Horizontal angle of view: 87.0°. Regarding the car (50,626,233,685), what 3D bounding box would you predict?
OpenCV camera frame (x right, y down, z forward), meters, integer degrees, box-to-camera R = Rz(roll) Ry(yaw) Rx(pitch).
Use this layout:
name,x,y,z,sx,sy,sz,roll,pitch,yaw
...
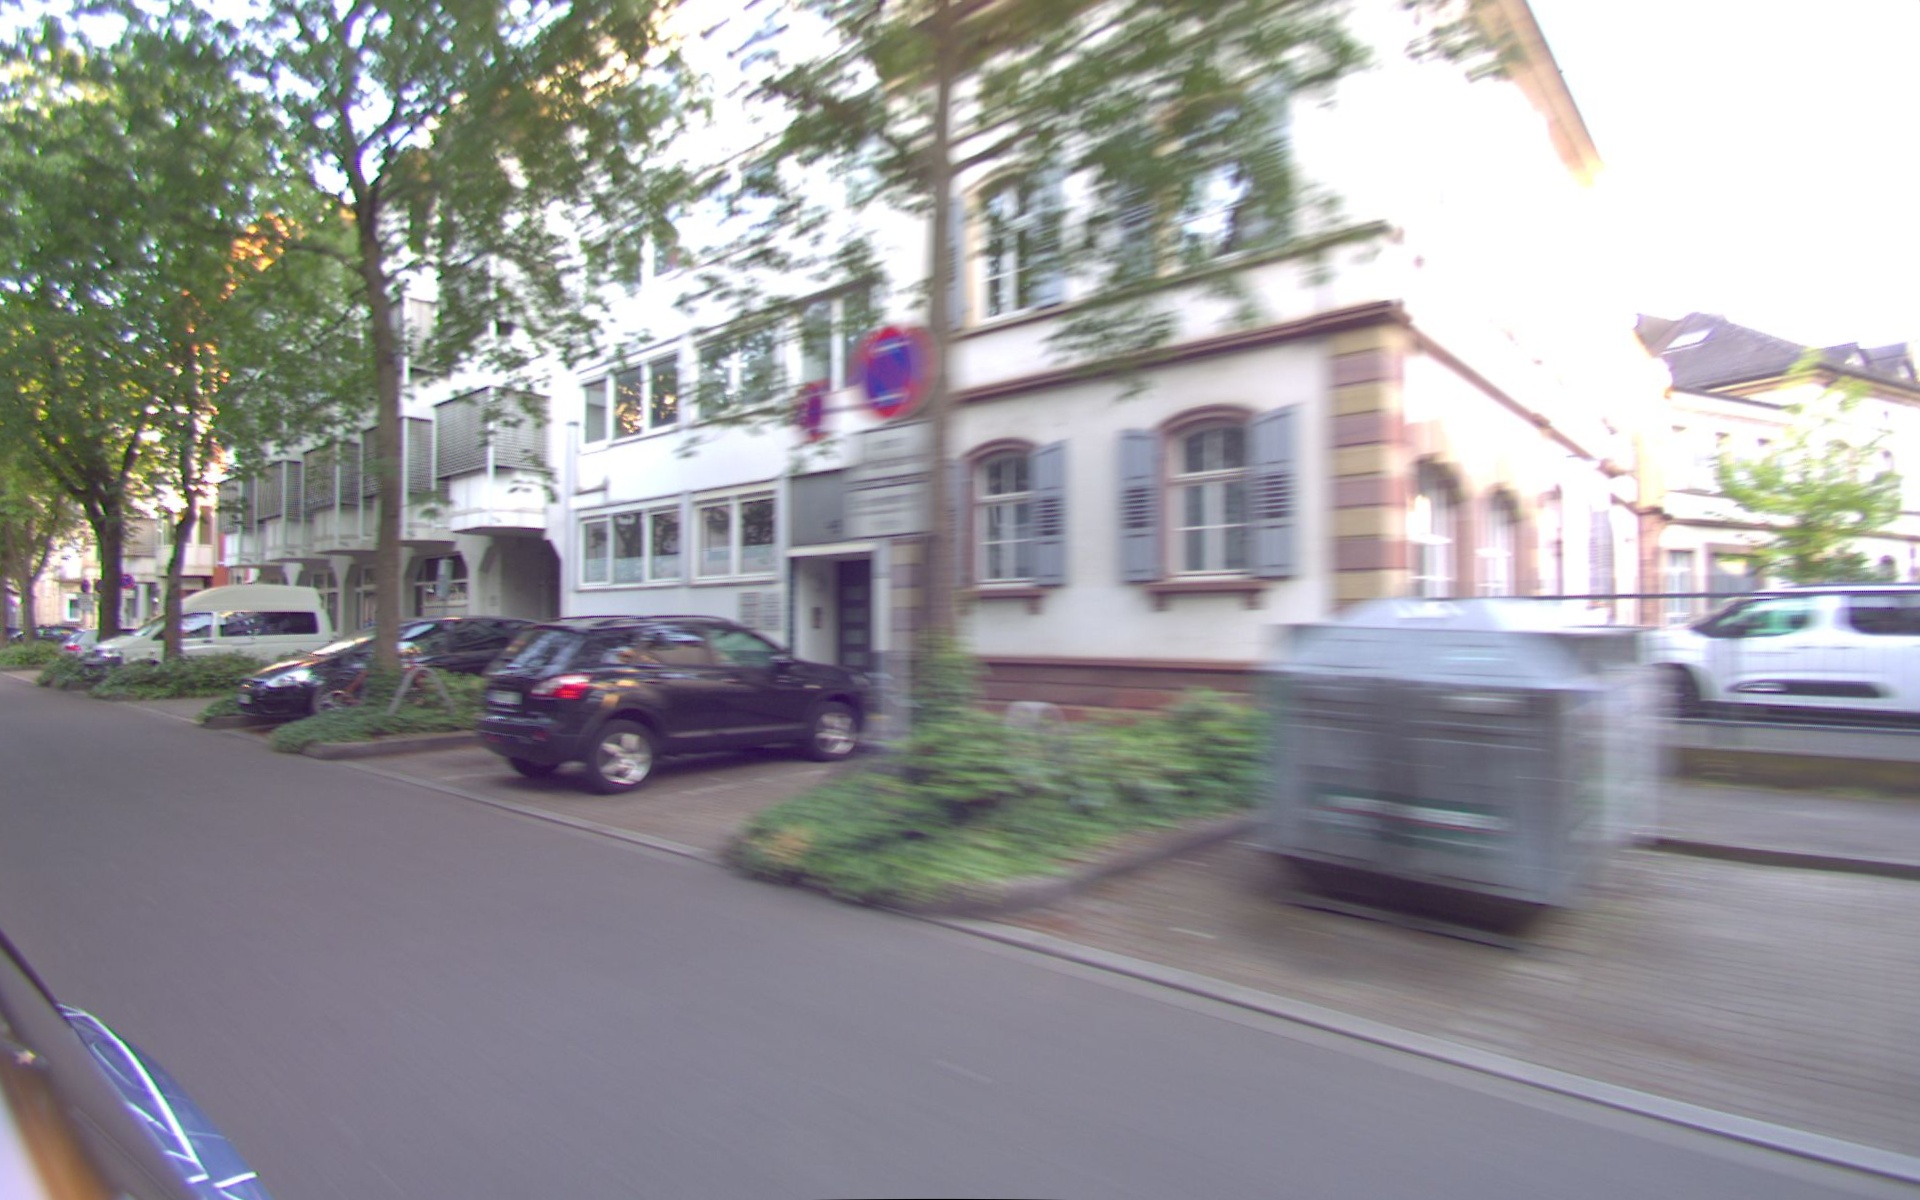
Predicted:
name,x,y,z,sx,sy,sz,roll,pitch,yaw
car,-23.855,1.565,29.577,1.622,1.539,4.008,-2,-2,44

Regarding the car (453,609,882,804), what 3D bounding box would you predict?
name,x,y,z,sx,sy,sz,roll,pitch,yaw
car,-2.833,0.917,10.458,1.788,1.604,3.946,-2,-2,41

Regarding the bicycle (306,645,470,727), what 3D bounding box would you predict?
name,x,y,z,sx,sy,sz,roll,pitch,yaw
bicycle,-7.700,1.126,13.708,0.479,1.033,1.882,-2,-3,39

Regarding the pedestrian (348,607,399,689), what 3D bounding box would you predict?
name,x,y,z,sx,sy,sz,roll,pitch,yaw
pedestrian,-14.911,1.202,25.729,0.839,2.029,0.930,-2,-3,45

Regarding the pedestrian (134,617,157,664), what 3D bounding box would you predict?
name,x,y,z,sx,sy,sz,roll,pitch,yaw
pedestrian,-30.592,1.513,38.018,0.628,1.758,0.680,1,-2,-40

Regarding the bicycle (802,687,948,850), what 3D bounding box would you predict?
name,x,y,z,sx,sy,sz,roll,pitch,yaw
bicycle,-0.560,1.138,7.218,0.480,0.944,1.552,-1,-2,18

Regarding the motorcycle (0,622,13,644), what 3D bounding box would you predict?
name,x,y,z,sx,sy,sz,roll,pitch,yaw
motorcycle,-51.244,1.786,53.567,0.572,1.151,1.604,-2,0,43

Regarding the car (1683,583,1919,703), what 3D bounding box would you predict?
name,x,y,z,sx,sy,sz,roll,pitch,yaw
car,15.836,0.761,18.593,3.998,2.029,1.666,-2,-2,41

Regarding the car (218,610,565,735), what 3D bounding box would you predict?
name,x,y,z,sx,sy,sz,roll,pitch,yaw
car,-8.744,1.065,15.975,1.619,1.695,4.492,-2,-3,37

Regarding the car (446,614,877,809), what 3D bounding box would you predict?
name,x,y,z,sx,sy,sz,roll,pitch,yaw
car,-2.874,0.962,10.434,1.826,1.600,3.948,-2,-2,39

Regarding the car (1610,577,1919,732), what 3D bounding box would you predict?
name,x,y,z,sx,sy,sz,roll,pitch,yaw
car,11.160,0.642,13.066,4.461,1.820,1.763,1,-1,41

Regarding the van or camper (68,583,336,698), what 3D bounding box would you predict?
name,x,y,z,sx,sy,sz,roll,pitch,yaw
van or camper,-17.880,0.959,24.089,1.944,2.446,4.766,-2,-3,41

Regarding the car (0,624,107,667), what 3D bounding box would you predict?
name,x,y,z,sx,sy,sz,roll,pitch,yaw
car,-39.635,1.933,43.357,1.789,1.772,4.420,-2,-3,38
